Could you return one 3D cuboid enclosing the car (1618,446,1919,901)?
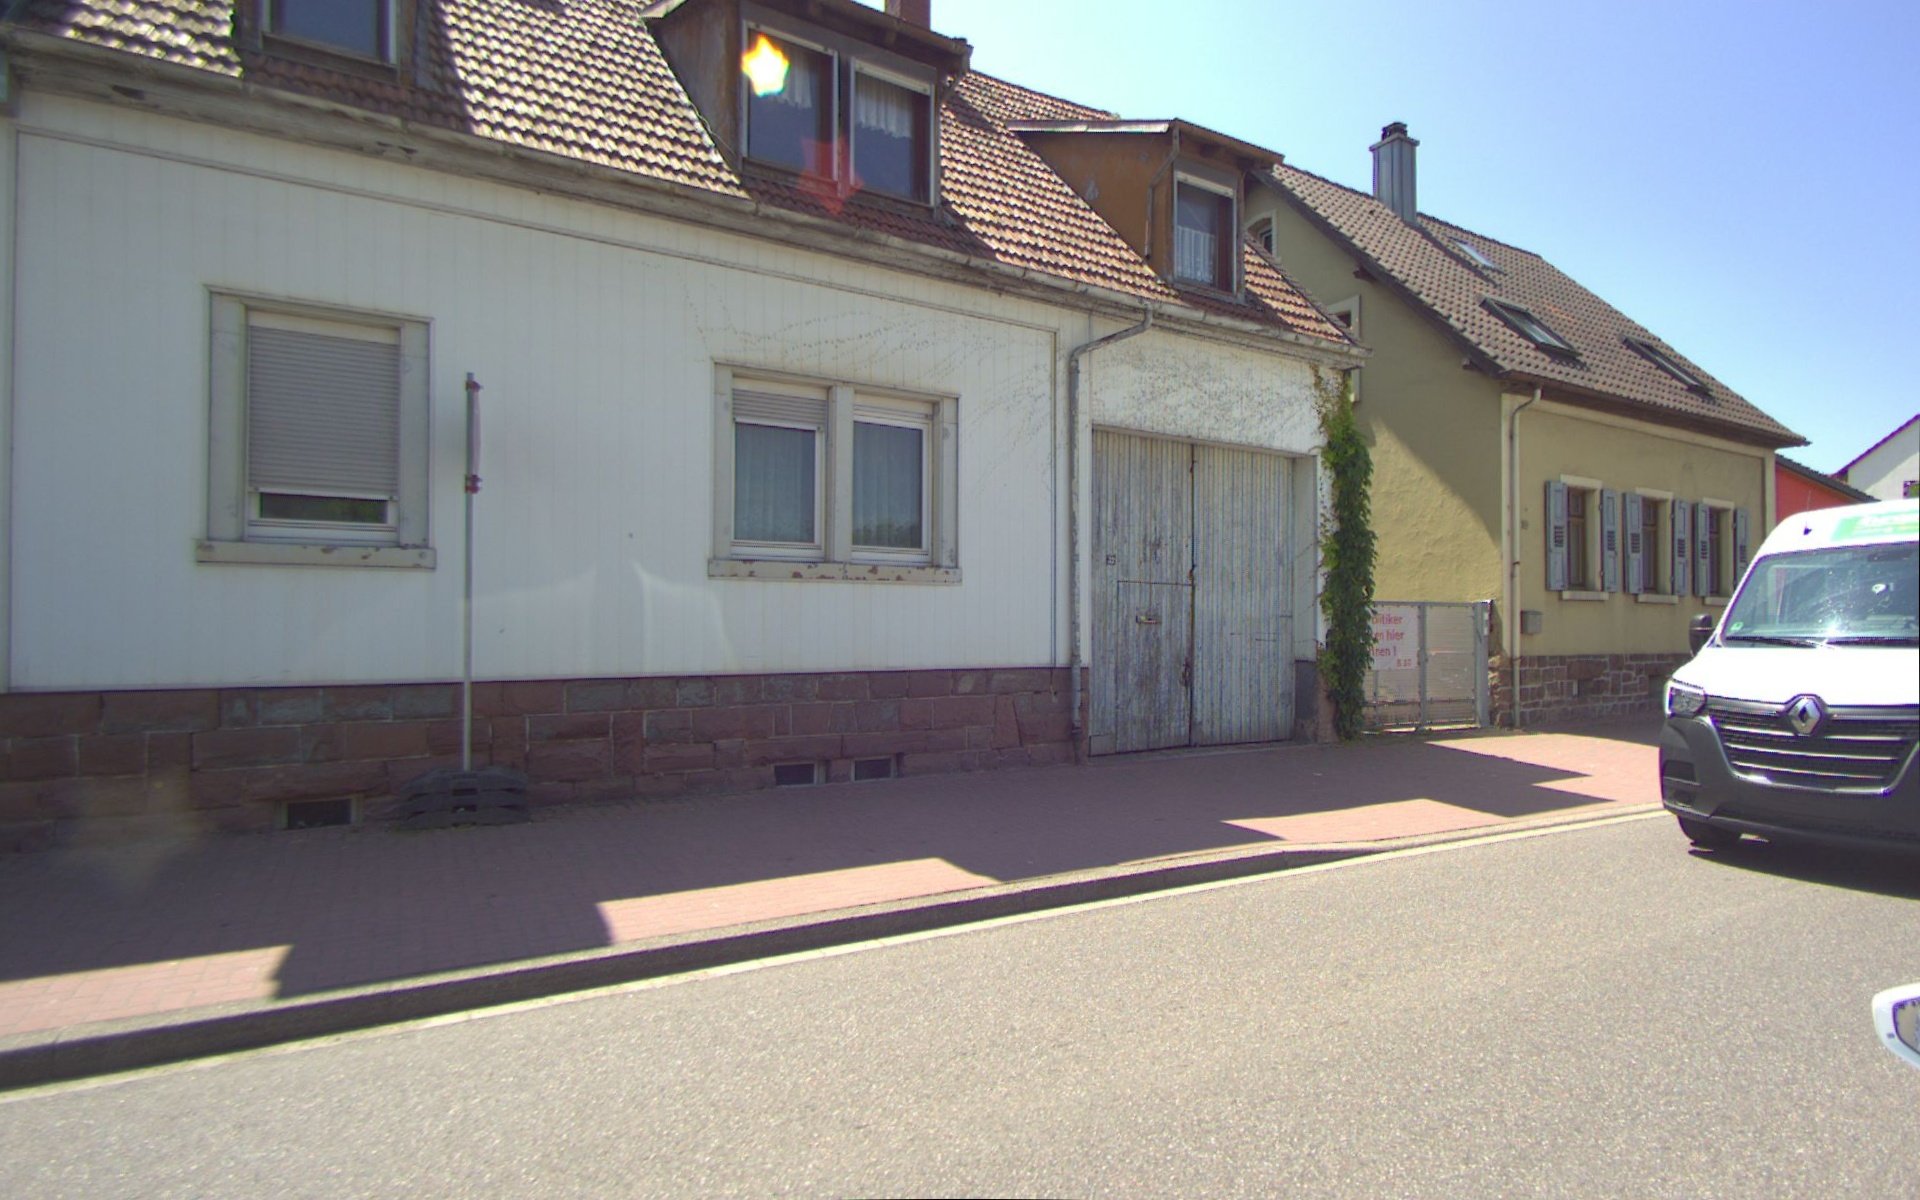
[{"bbox_3d":[7.632,0.467,7.461,5.994,2.493,2.021,1,-2,-29],"label":"car"}]
